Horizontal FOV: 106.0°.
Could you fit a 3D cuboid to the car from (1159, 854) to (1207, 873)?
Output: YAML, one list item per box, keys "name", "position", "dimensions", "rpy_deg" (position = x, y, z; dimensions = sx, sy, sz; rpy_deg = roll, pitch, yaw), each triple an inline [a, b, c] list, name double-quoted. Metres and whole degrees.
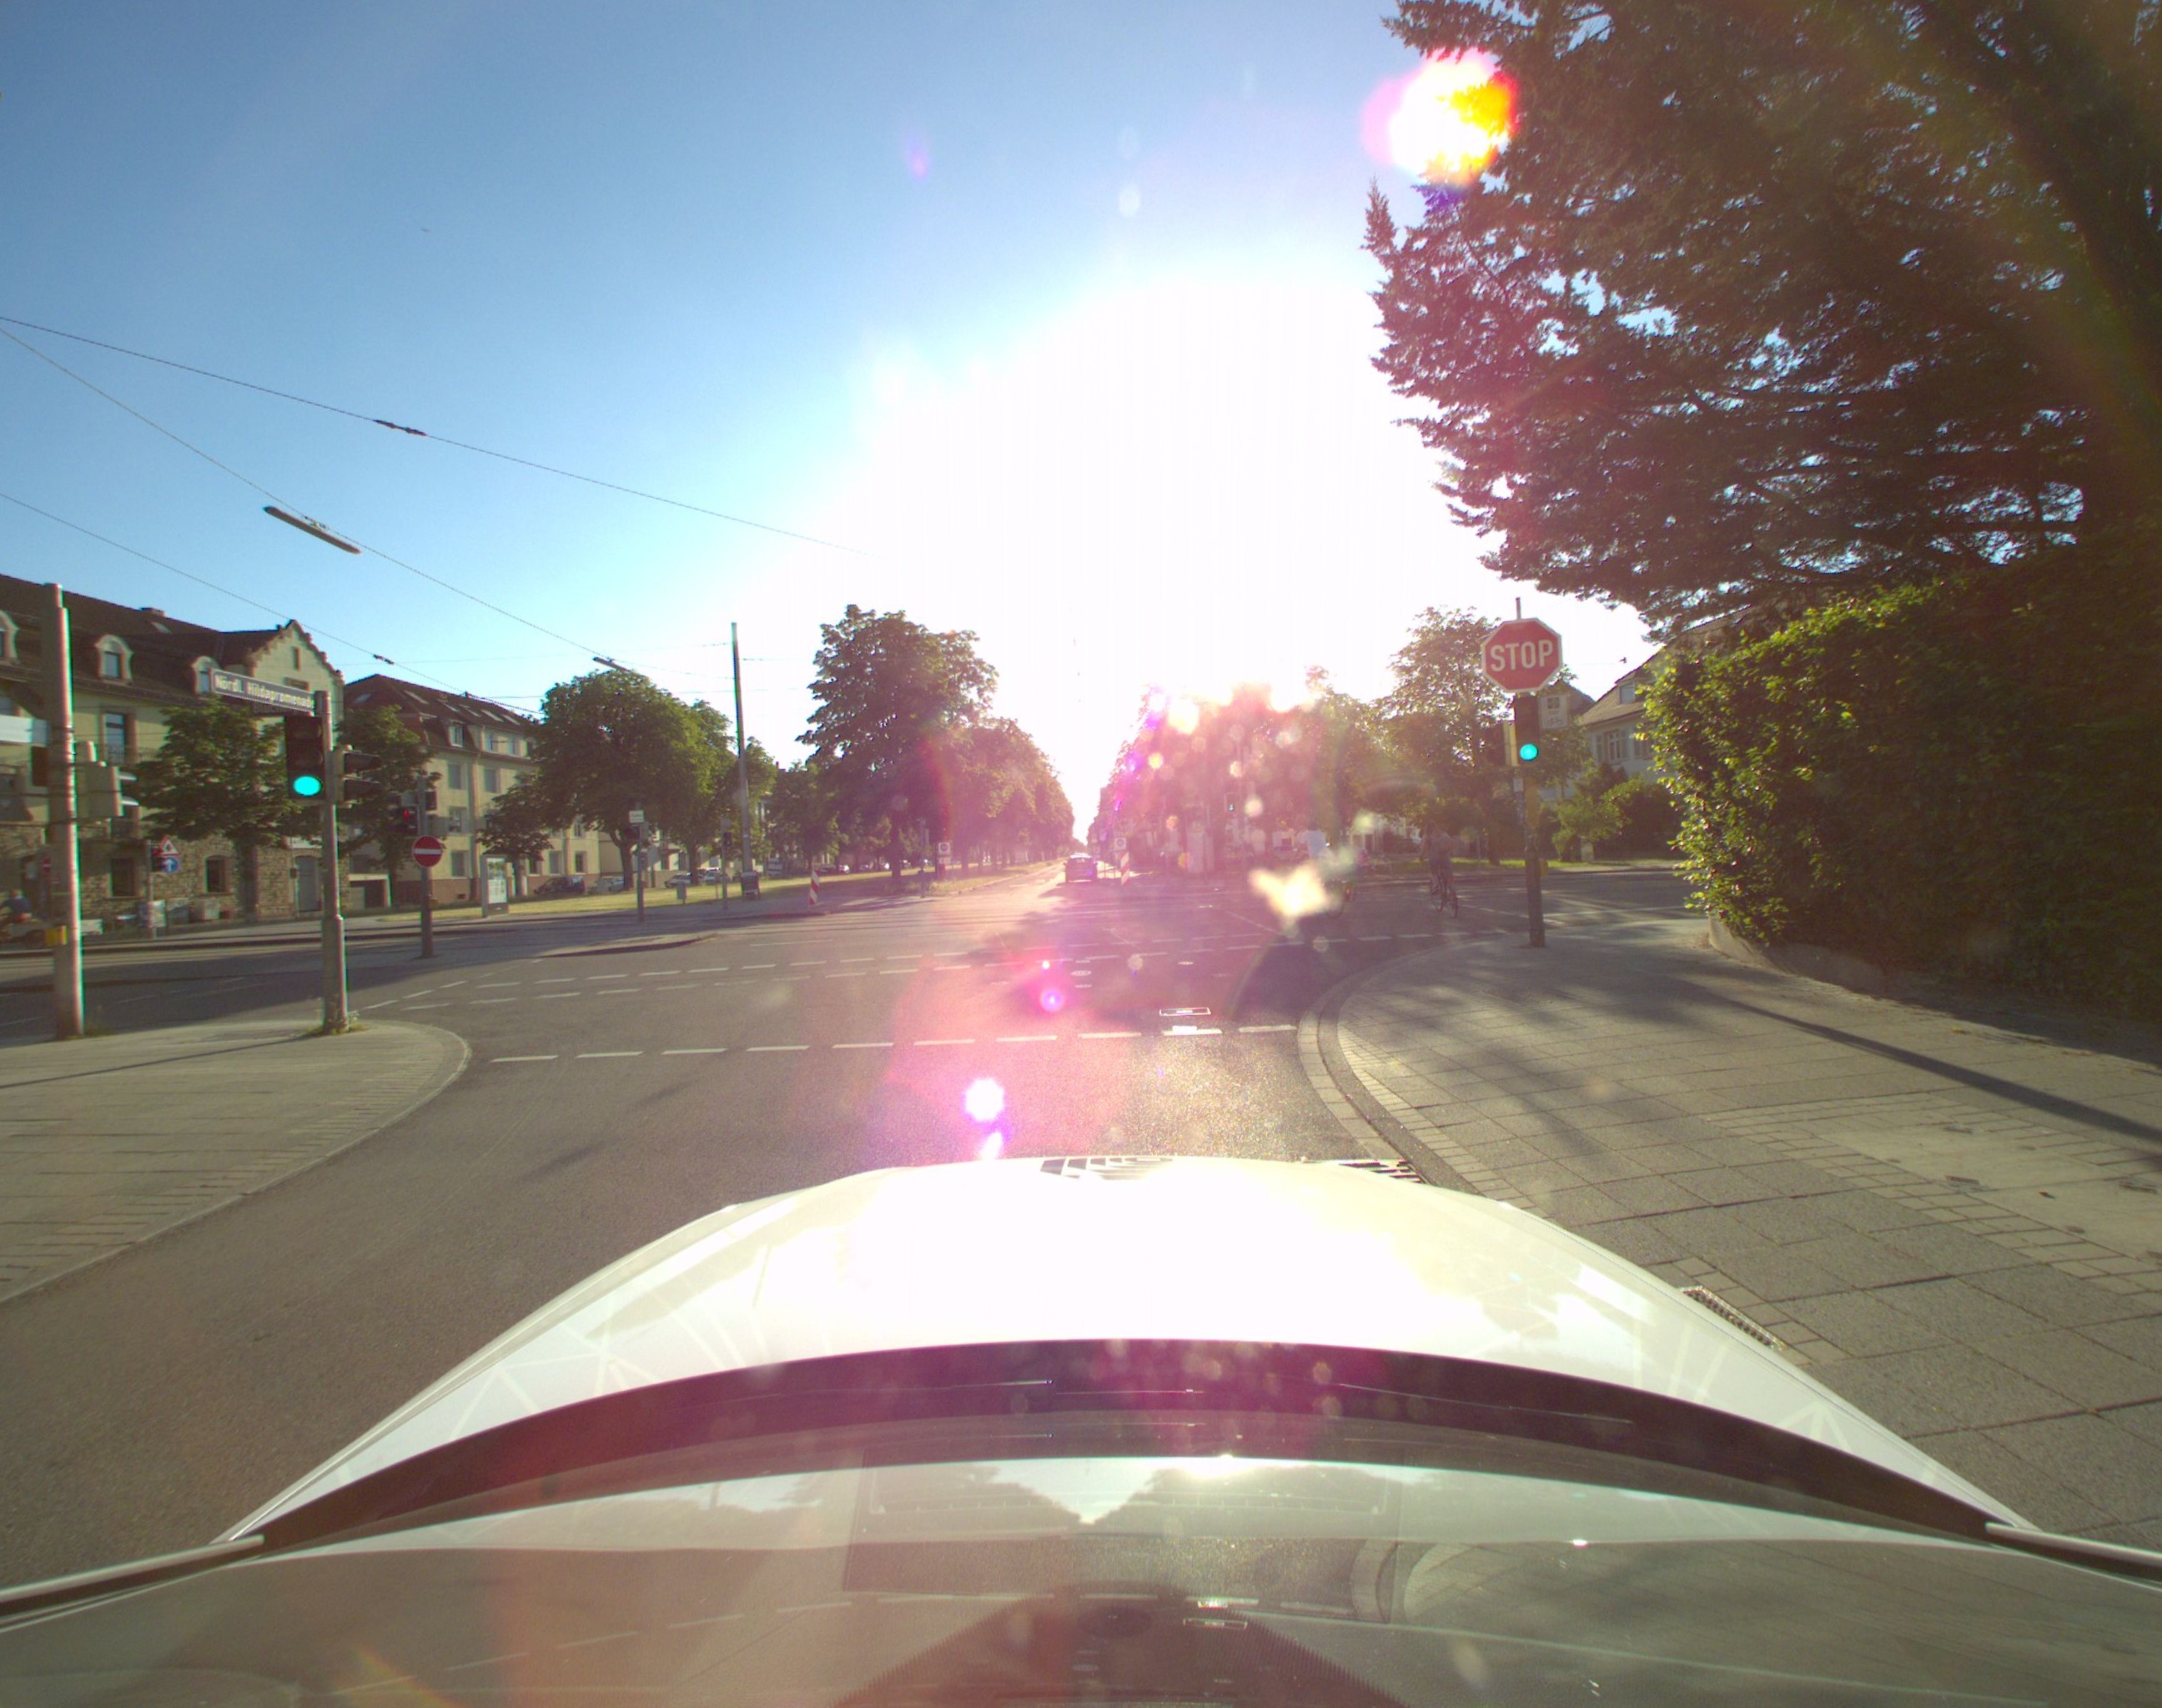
- name: "car"
  position: [8.973, 0.840, 71.835]
  dimensions: [3.975, 1.447, 1.715]
  rpy_deg: [-2, -1, -1]

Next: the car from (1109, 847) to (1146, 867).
- name: "car"
  position: [5.296, 0.356, 93.294]
  dimensions: [3.980, 1.822, 1.757]
  rpy_deg: [-3, -6, -5]

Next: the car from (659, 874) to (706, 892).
- name: "car"
  position: [-37.371, 2.699, 76.476]
  dimensions: [1.986, 1.659, 4.572]
  rpy_deg: [-1, -1, 2]

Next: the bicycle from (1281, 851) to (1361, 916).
- name: "bicycle"
  position: [4.642, 0.544, 15.884]
  dimensions: [0.573, 1.184, 1.895]
  rpy_deg: [0, -1, -15]

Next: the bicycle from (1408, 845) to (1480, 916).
- name: "bicycle"
  position: [6.780, 0.464, 15.308]
  dimensions: [0.489, 1.183, 1.964]
  rpy_deg: [0, 2, 1]

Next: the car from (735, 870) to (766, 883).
- name: "car"
  position: [-42.049, 2.832, 103.769]
  dimensions: [1.986, 1.659, 4.572]
  rpy_deg: [-1, -1, 2]

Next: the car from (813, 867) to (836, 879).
- name: "car"
  position: [-36.966, 2.663, 117.499]
  dimensions: [1.873, 1.674, 4.315]
  rpy_deg: [-1, -1, 1]

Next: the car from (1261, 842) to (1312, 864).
- name: "car"
  position: [16.368, -0.078, 64.837]
  dimensions: [3.548, 1.516, 1.602]
  rpy_deg: [-2, -1, -6]

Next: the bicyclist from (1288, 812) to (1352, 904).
- name: "bicyclist"
  position: [4.618, 0.080, 15.776]
  dimensions: [0.816, 1.732, 0.889]
  rpy_deg: [0, -1, -16]

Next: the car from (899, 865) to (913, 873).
- name: "car"
  position: [-36.115, 3.023, 168.289]
  dimensions: [2.016, 1.659, 3.984]
  rpy_deg: [-1, -1, 1]

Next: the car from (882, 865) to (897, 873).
- name: "car"
  position: [-40.853, 3.152, 173.883]
  dimensions: [1.986, 1.659, 4.356]
  rpy_deg: [-1, -1, 2]

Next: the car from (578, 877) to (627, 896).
- name: "car"
  position: [-42.990, 2.898, 73.271]
  dimensions: [1.986, 1.659, 4.001]
  rpy_deg: [-1, -1, 2]

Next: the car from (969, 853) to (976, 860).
- name: "car"
  position: [-33.962, 0.852, 254.877]
  dimensions: [1.649, 1.938, 3.566]
  rpy_deg: [-1, -2, 0]

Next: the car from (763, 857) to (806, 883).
- name: "car"
  position: [-37.041, 1.983, 102.000]
  dimensions: [2.384, 3.131, 7.853]
  rpy_deg: [0, 0, 0]

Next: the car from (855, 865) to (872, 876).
- name: "car"
  position: [-36.749, 2.802, 137.687]
  dimensions: [1.805, 1.781, 4.122]
  rpy_deg: [-1, -1, 1]

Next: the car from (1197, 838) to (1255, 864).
- name: "car"
  position: [11.599, -0.213, 65.149]
  dimensions: [4.228, 1.875, 2.030]
  rpy_deg: [-2, -1, -1]

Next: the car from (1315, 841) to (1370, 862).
- name: "car"
  position: [20.932, -0.223, 65.228]
  dimensions: [3.915, 1.524, 1.521]
  rpy_deg: [-1, -2, -5]

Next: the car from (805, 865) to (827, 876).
- name: "car"
  position: [-41.492, 2.551, 127.689]
  dimensions: [1.986, 1.659, 4.375]
  rpy_deg: [-1, -1, 2]

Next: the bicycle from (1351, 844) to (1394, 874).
- name: "bicycle"
  position: [11.605, 0.206, 32.457]
  dimensions: [1.513, 1.089, 0.468]
  rpy_deg: [-3, 3, 8]

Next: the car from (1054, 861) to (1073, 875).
- name: "car"
  position: [-1.666, 1.333, 78.061]
  dimensions: [1.704, 1.359, 4.202]
  rpy_deg: [-1, -1, 0]

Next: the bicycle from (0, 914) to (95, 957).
- name: "bicycle"
  position: [-32.520, 2.548, 25.239]
  dimensions: [3.059, 1.161, 0.876]
  rpy_deg: [-3, -1, 4]

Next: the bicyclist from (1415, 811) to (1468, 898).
- name: "bicyclist"
  position: [6.745, 0.020, 15.260]
  dimensions: [0.707, 1.562, 0.896]
  rpy_deg: [-1, -1, 11]

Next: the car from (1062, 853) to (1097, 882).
- name: "car"
  position: [-0.049, 0.743, 44.426]
  dimensions: [1.719, 1.511, 4.542]
  rpy_deg: [-1, -1, 2]

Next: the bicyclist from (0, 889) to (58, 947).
- name: "bicyclist"
  position: [-32.888, 1.992, 25.281]
  dimensions: [1.139, 1.723, 0.876]
  rpy_deg: [-3, -1, 4]

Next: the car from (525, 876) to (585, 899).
- name: "car"
  position: [-43.150, 2.743, 66.923]
  dimensions: [1.986, 1.736, 4.313]
  rpy_deg: [-1, -1, 2]

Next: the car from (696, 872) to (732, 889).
- name: "car"
  position: [-37.124, 2.629, 82.480]
  dimensions: [1.791, 1.554, 4.417]
  rpy_deg: [0, 0, -1]
